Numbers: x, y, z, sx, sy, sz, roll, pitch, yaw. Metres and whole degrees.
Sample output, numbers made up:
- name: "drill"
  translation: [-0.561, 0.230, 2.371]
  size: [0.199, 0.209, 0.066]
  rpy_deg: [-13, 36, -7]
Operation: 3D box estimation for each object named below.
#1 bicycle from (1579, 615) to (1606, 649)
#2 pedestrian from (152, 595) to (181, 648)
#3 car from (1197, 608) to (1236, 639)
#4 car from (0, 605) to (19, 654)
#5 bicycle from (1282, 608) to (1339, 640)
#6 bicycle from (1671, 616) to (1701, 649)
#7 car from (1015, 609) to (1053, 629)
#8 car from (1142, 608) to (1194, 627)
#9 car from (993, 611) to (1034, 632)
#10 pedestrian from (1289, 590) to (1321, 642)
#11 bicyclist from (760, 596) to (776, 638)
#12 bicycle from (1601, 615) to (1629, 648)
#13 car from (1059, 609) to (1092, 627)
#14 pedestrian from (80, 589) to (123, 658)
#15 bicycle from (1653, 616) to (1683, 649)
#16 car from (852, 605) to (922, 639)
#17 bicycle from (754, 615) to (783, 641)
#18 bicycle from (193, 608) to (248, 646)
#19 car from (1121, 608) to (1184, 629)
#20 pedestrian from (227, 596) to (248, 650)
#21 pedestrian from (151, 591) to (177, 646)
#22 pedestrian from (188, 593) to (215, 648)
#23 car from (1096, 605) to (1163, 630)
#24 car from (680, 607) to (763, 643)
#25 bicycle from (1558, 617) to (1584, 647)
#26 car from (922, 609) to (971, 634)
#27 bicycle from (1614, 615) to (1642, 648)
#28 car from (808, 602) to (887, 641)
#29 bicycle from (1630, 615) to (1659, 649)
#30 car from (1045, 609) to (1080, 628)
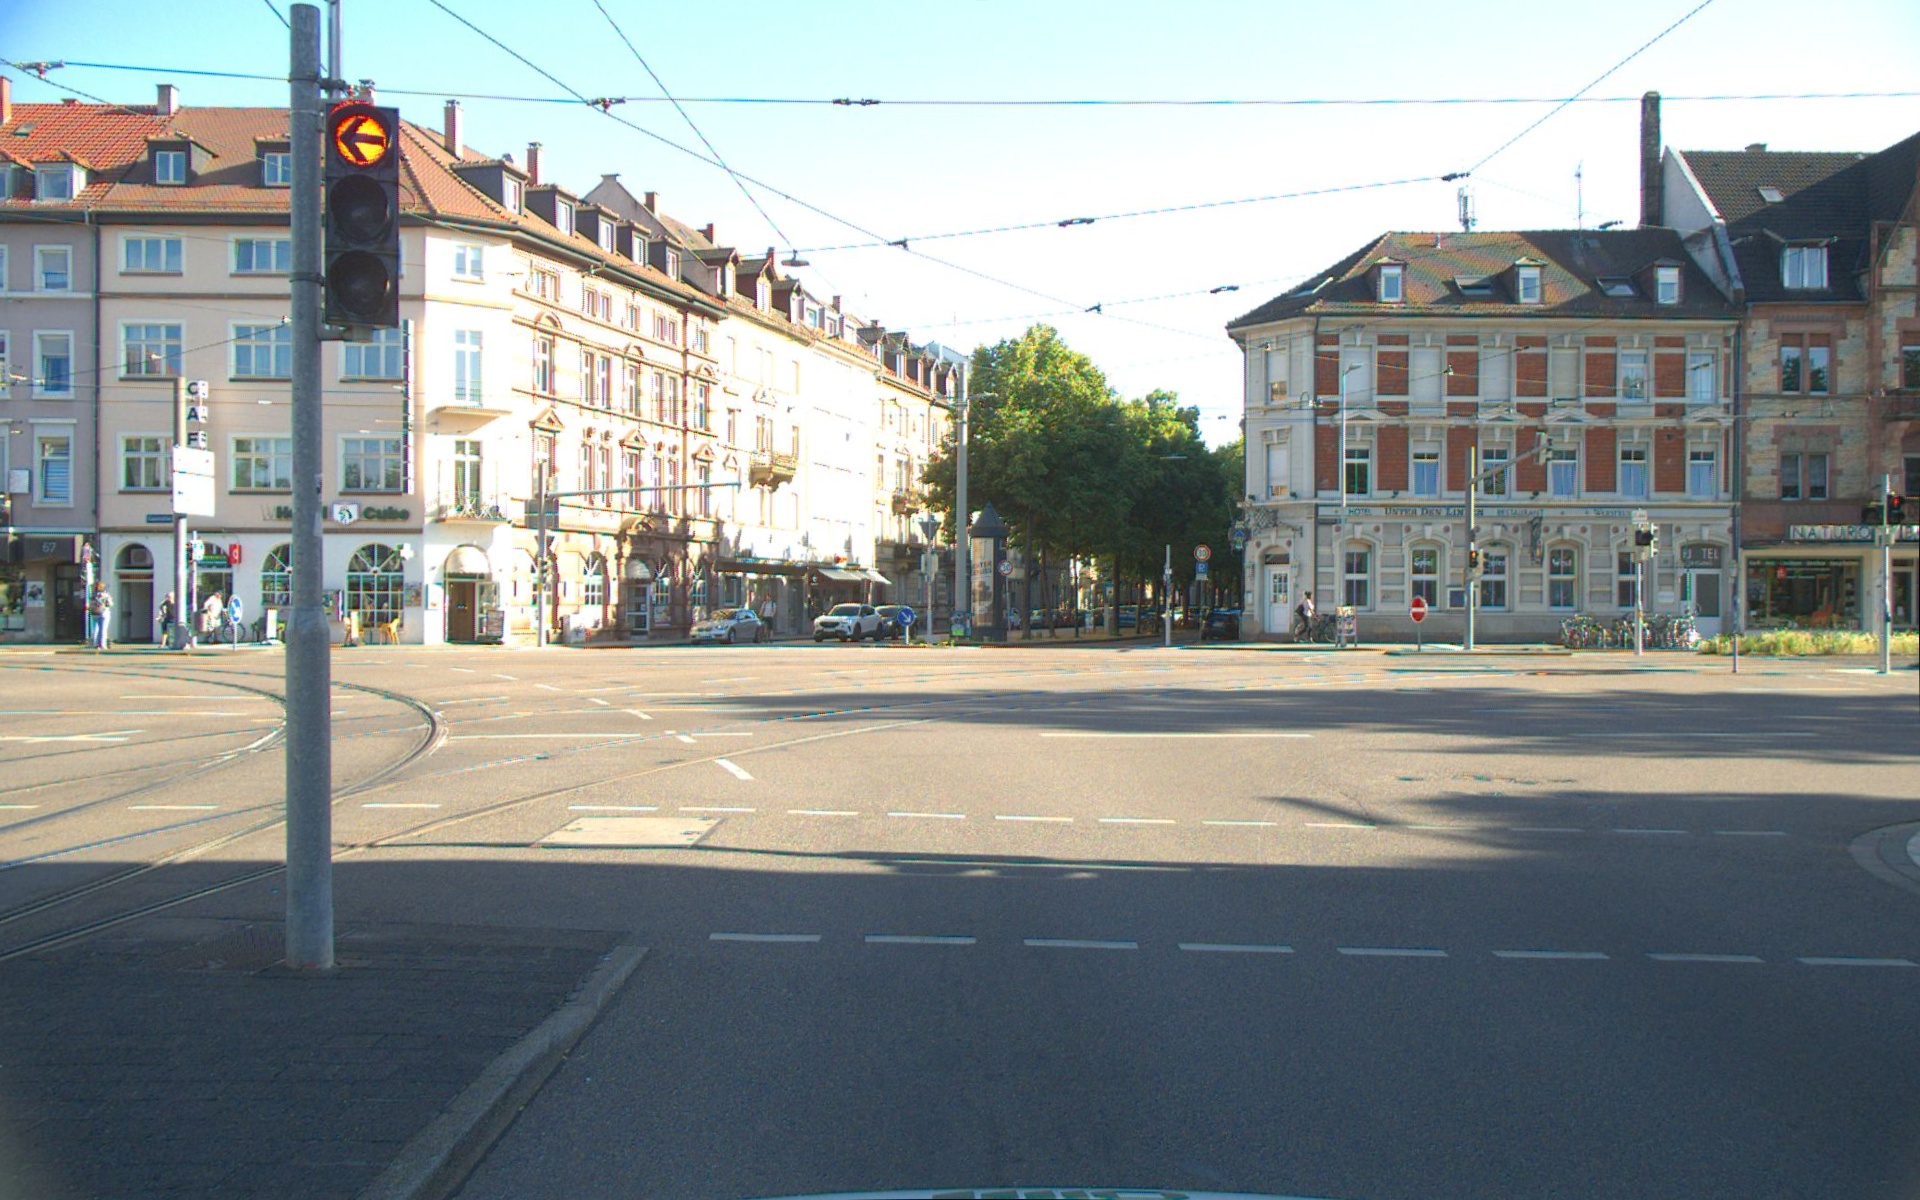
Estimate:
- name: "bicycle"
  translation: [20.474, 1.030, 53.572]
  size: [0.476, 1.038, 1.785]
  rpy_deg: [0, 0, 9]
- name: "pedestrian"
  translation: [-26.023, 0.700, 54.231]
  size: [0.727, 1.711, 0.626]
  rpy_deg: [0, 0, -12]
- name: "car"
  translation: [12.854, 1.148, 82.702]
  size: [1.717, 1.445, 4.003]
  rpy_deg: [0, 0, 12]
- name: "car"
  translation: [-32.127, 0.903, 52.318]
  size: [3.651, 1.517, 1.818]
  rpy_deg: [1, 0, 2]
- name: "bicycle"
  translation: [12.177, 0.835, 57.510]
  size: [1.911, 1.072, 0.716]
  rpy_deg: [0, 0, 9]
- name: "bicycle"
  translation: [23.591, 1.053, 53.738]
  size: [0.476, 1.038, 1.785]
  rpy_deg: [0, 0, 9]
- name: "car"
  translation: [5.477, 1.382, 122.636]
  size: [1.951, 1.429, 4.172]
  rpy_deg: [0, 0, 15]
- name: "car"
  translation: [14.047, 1.156, 111.658]
  size: [3.360, 1.261, 1.578]
  rpy_deg: [0, 0, 10]
- name: "car"
  translation: [3.818, 1.488, 116.891]
  size: [1.951, 1.429, 4.172]
  rpy_deg: [0, 0, 15]
- name: "pedestrian"
  translation: [11.810, 0.535, 56.603]
  size: [1.013, 1.741, 0.630]
  rpy_deg: [1, -1, 8]
- name: "bicyclist"
  translation: [-7.546, 0.657, 65.064]
  size: [0.479, 1.629, 0.667]
  rpy_deg: [0, 0, 9]
- name: "bicycle"
  translation: [21.163, 1.009, 53.480]
  size: [0.476, 1.038, 1.785]
  rpy_deg: [0, 0, 9]
- name: "car"
  translation: [9.574, 1.484, 136.722]
  size: [1.951, 1.429, 4.172]
  rpy_deg: [0, 0, 15]
- name: "pedestrian"
  translation: [-21.390, 0.574, 41.223]
  size: [0.725, 1.711, 0.628]
  rpy_deg: [0, 0, -1]
- name: "bicycle"
  translation: [22.906, 1.040, 53.556]
  size: [0.476, 1.038, 1.785]
  rpy_deg: [0, 0, 9]
- name: "car"
  translation: [-3.225, 0.957, 73.576]
  size: [1.951, 1.429, 4.172]
  rpy_deg: [0, 0, 15]
- name: "bicycle"
  translation: [-7.555, 1.102, 65.164]
  size: [0.641, 1.018, 1.666]
  rpy_deg: [1, 0, 11]
- name: "bicycle"
  translation: [-25.305, 0.912, 56.597]
  size: [1.684, 1.299, 0.385]
  rpy_deg: [0, 0, -18]
- name: "car"
  translation: [12.318, 1.146, 105.558]
  size: [3.902, 1.311, 1.696]
  rpy_deg: [0, 0, 10]
- name: "pedestrian"
  translation: [-17.210, 0.547, 39.394]
  size: [0.358, 1.275, 0.449]
  rpy_deg: [0, 0, -12]
- name: "pedestrian"
  translation: [-24.952, 0.586, 51.831]
  size: [0.731, 1.711, 0.623]
  rpy_deg: [0, 0, -26]
- name: "pedestrian"
  translation: [-23.782, 0.636, 51.862]
  size: [0.615, 1.711, 0.741]
  rpy_deg: [0, 0, -12]
- name: "car"
  translation: [10.251, 1.044, 99.820]
  size: [3.902, 1.480, 1.683]
  rpy_deg: [0, 0, 10]
- name: "car"
  translation: [-9.598, 0.988, 66.877]
  size: [1.951, 1.385, 3.821]
  rpy_deg: [0, 0, 15]
- name: "bicycle"
  translation: [19.805, 1.023, 53.649]
  size: [0.476, 0.930, 1.785]
  rpy_deg: [0, 0, 9]
- name: "car"
  translation: [-0.817, 1.321, 102.053]
  size: [1.951, 1.429, 4.172]
  rpy_deg: [0, 0, 15]
- name: "bicycle"
  translation: [21.613, 1.018, 53.548]
  size: [0.476, 1.038, 1.785]
  rpy_deg: [0, 0, 9]
- name: "car"
  translation: [-4.530, 0.851, 67.384]
  size: [1.951, 1.542, 4.172]
  rpy_deg: [0, 0, 15]
- name: "bicycle"
  translation: [22.111, 1.026, 53.476]
  size: [0.476, 1.038, 1.785]
  rpy_deg: [0, 0, 9]
- name: "car"
  translation: [8.144, 1.437, 131.504]
  size: [1.951, 1.429, 4.172]
  rpy_deg: [0, 0, 15]
